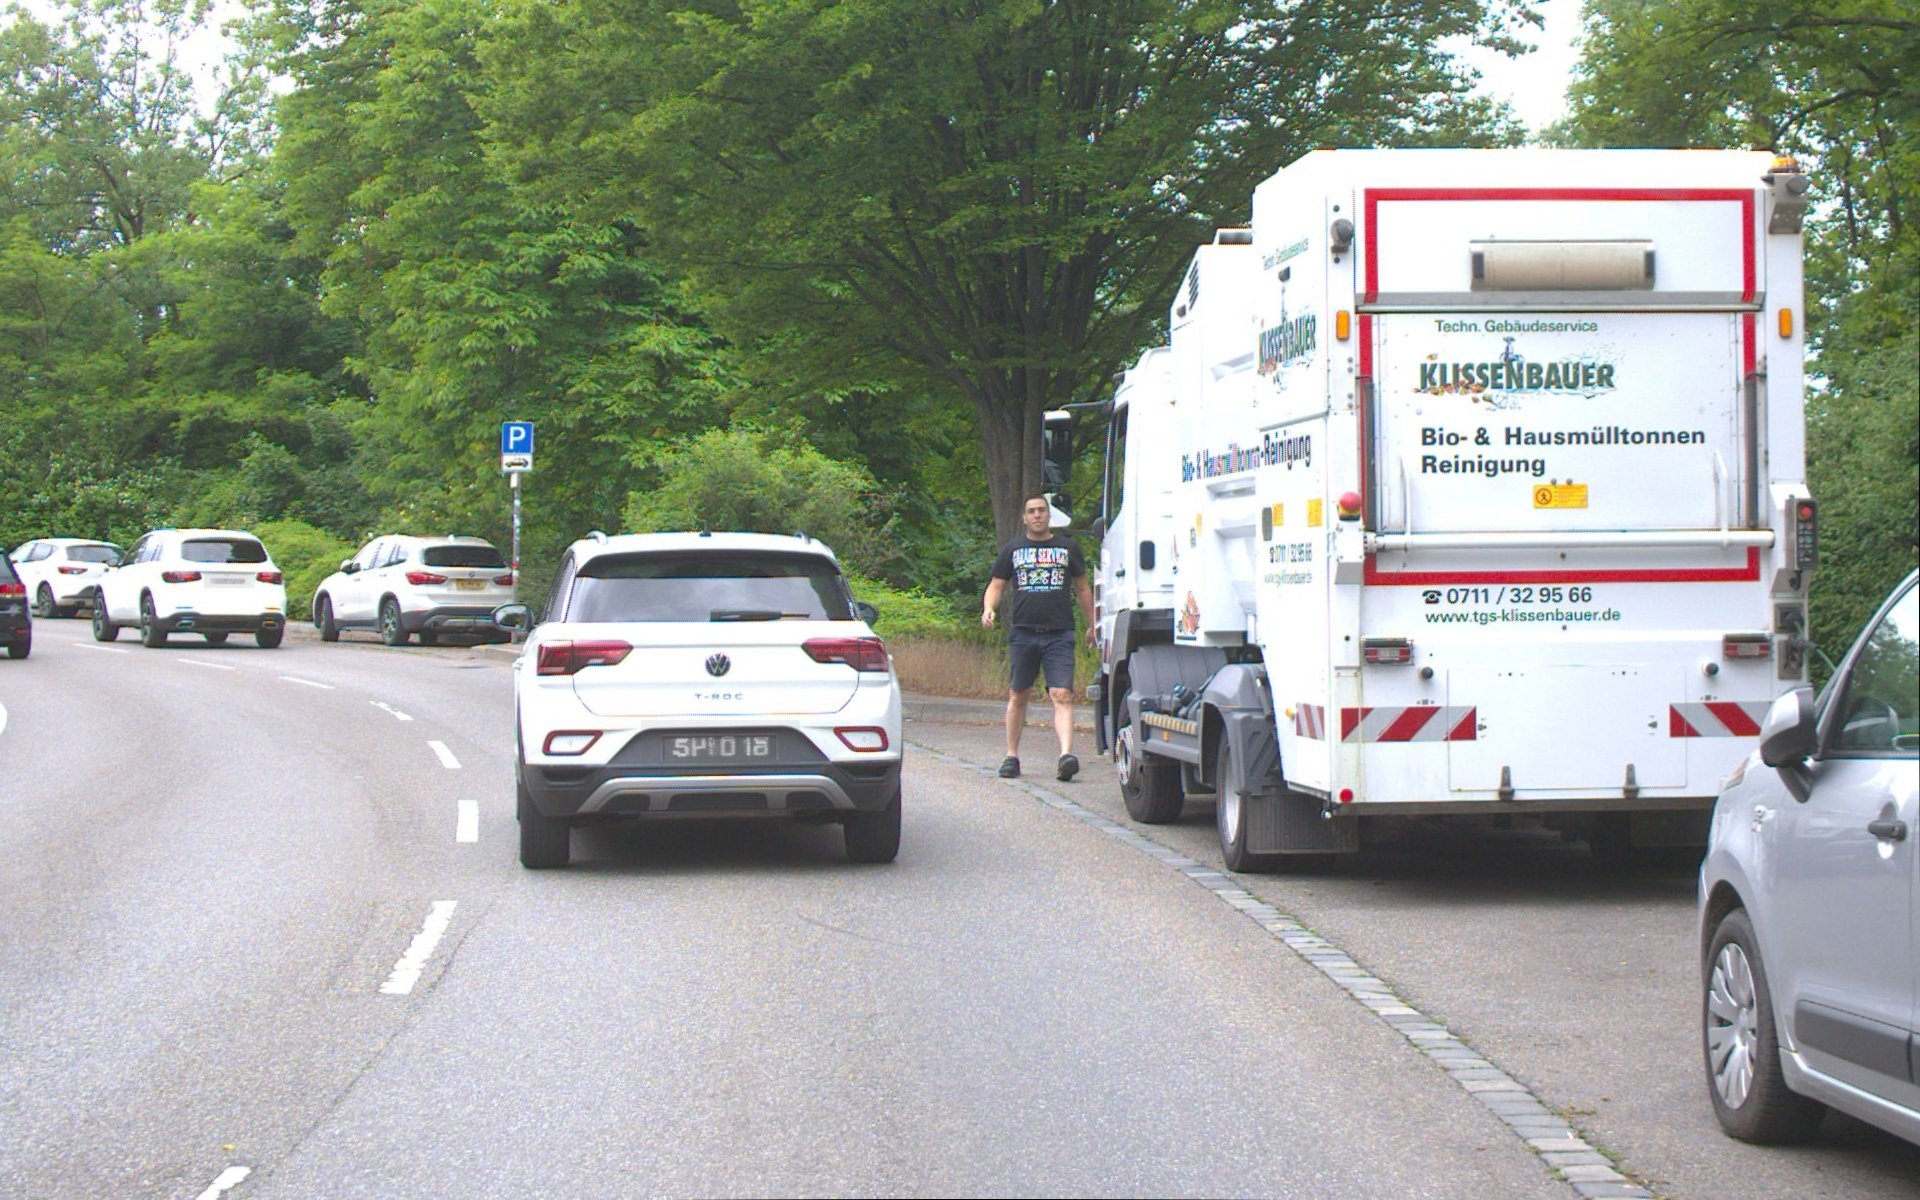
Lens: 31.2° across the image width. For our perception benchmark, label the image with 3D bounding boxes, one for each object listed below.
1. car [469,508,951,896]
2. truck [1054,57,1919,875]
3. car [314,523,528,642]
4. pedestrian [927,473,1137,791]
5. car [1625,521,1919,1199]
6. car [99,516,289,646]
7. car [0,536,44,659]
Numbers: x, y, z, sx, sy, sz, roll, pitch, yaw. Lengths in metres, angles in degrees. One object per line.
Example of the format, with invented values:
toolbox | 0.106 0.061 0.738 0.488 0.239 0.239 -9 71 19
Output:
car | -1.366 0.424 17.030 2.000 1.590 4.001 4 0 -8
truck | 2.192 -0.586 17.121 2.481 3.171 7.230 -1 1 -6
car | -7.885 -0.281 49.989 1.758 1.646 4.381 0 1 -28
pedestrian | 0.448 0.198 22.024 0.917 1.827 0.984 13 0 -1
car | 2.853 0.588 7.562 1.803 1.519 4.001 0 1 -3
car | -10.798 -0.308 48.275 1.851 1.697 4.001 -1 2 -24
car | -12.839 -0.089 43.457 1.949 1.461 4.001 2 1 -21
